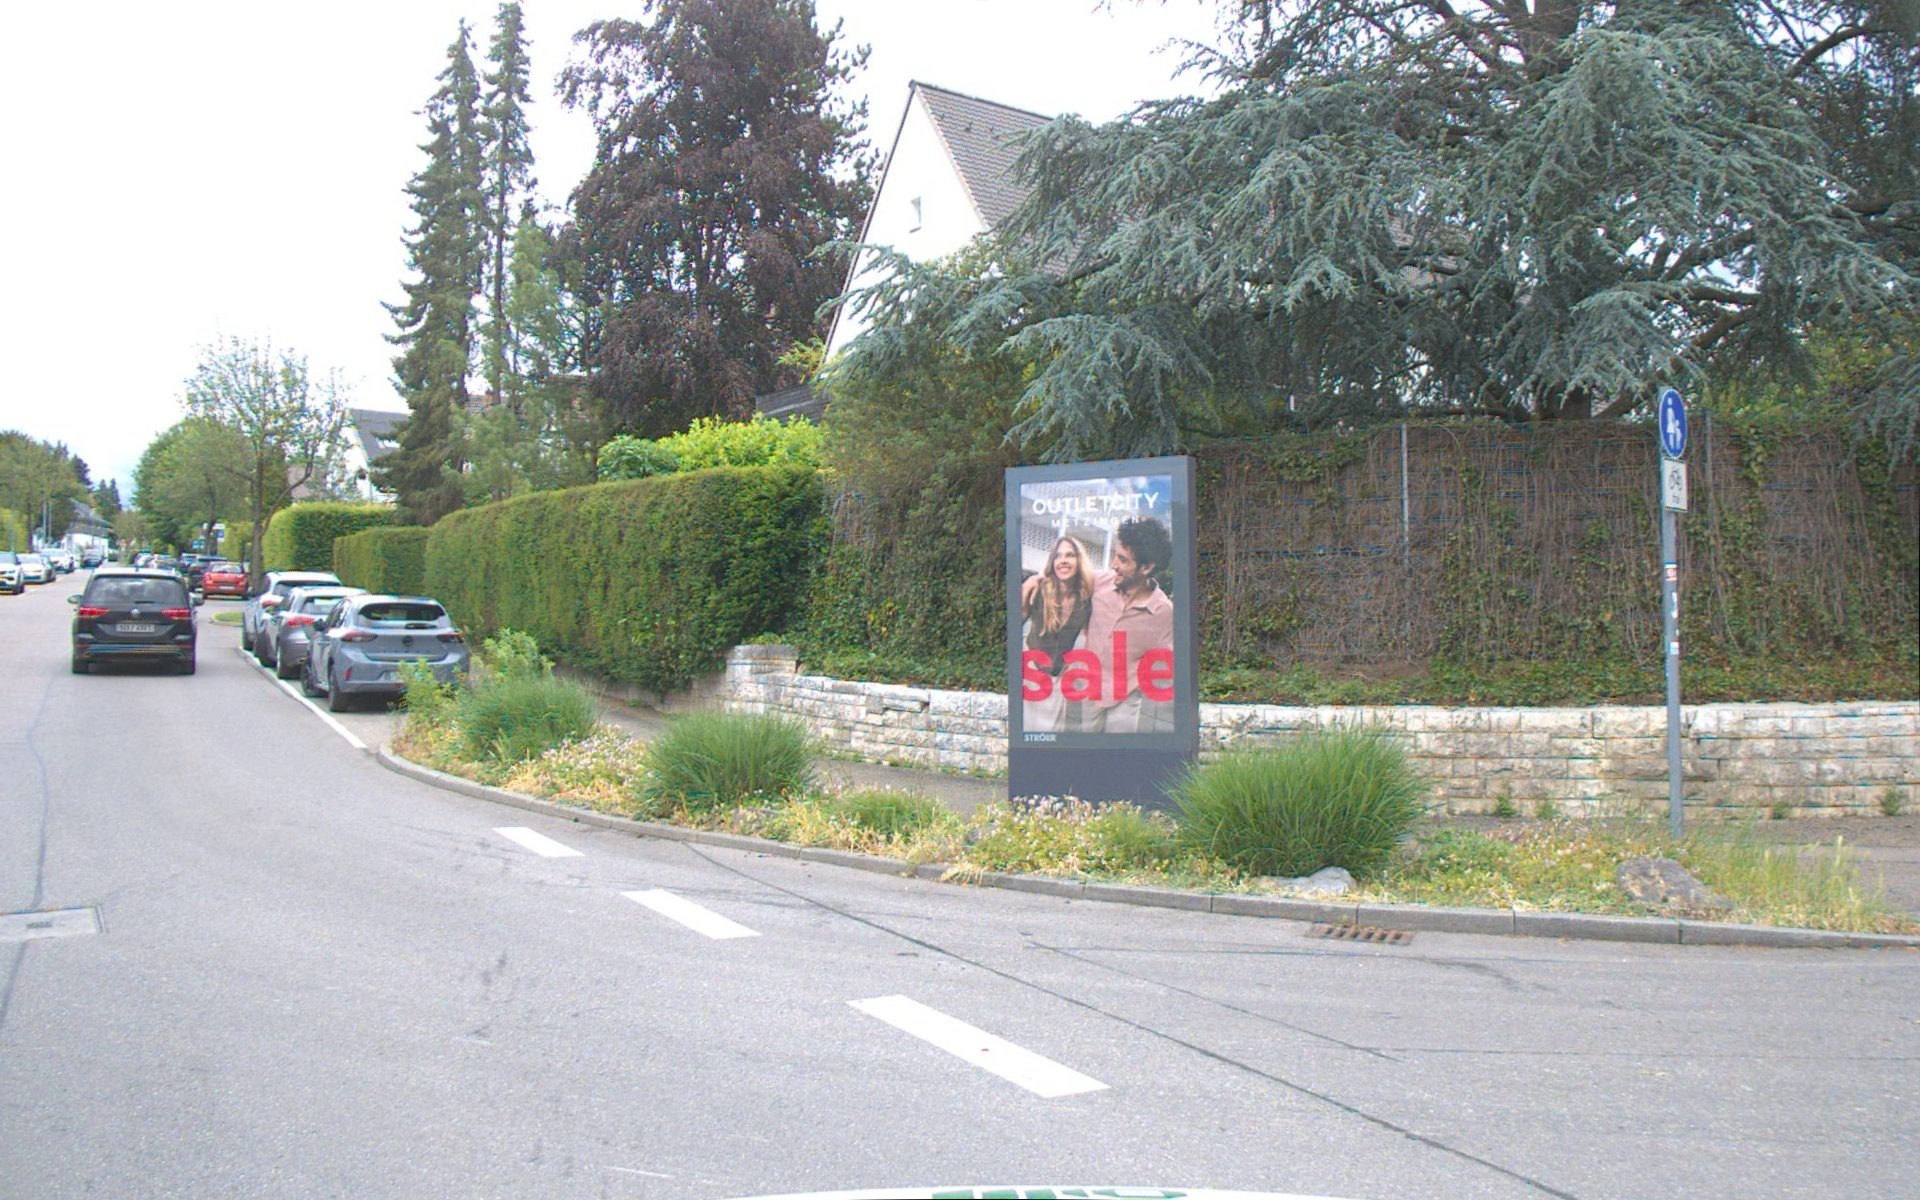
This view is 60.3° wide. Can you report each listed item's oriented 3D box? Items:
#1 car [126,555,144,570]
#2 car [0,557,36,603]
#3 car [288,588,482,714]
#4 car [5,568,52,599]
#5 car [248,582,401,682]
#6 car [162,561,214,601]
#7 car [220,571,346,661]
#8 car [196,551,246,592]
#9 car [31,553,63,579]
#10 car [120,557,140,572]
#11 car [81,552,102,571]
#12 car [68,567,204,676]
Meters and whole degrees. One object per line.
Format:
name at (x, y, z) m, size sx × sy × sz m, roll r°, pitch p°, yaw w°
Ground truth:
car at (-95.335, -4.313, 191.181) m, size 1.627 × 1.697 × 3.431 m, roll 1°, pitch 1°, yaw -31°
car at (-37.169, -0.804, 64.402) m, size 1.815 × 1.695 × 4.372 m, roll -1°, pitch 2°, yaw -26°
car at (-7.859, 0.633, 22.384) m, size 1.834 × 1.489 × 3.962 m, roll 2°, pitch 0°, yaw -29°
car at (-45.588, -0.838, 80.967) m, size 1.816 × 1.447 × 4.369 m, roll -1°, pitch 2°, yaw -27°
car at (-10.680, 0.495, 27.627) m, size 1.834 × 1.489 × 4.132 m, roll 2°, pitch 0°, yaw -29°
car at (-34.643, -0.869, 74.142) m, size 1.969 × 1.646 × 4.475 m, roll 3°, pitch 0°, yaw -26°
car at (-13.409, 0.283, 32.617) m, size 1.834 × 1.609 × 4.132 m, roll 2°, pitch 0°, yaw -29°
car at (-29.419, -1.146, 65.821) m, size 1.641 × 1.534 × 3.726 m, roll 1°, pitch 1°, yaw -27°
car at (-56.667, -2.135, 102.674) m, size 1.704 × 1.567 × 3.962 m, roll 0°, pitch 2°, yaw -29°
car at (-85.950, -3.686, 171.257) m, size 1.648 × 1.527 × 3.431 m, roll 1°, pitch 1°, yaw -31°
car at (-86.026, -3.848, 163.845) m, size 1.863 × 1.883 × 4.363 m, roll 0°, pitch 1°, yaw -27°
car at (-13.480, 0.294, 27.151) m, size 1.825 × 1.639 × 4.275 m, roll 1°, pitch 1°, yaw -26°
